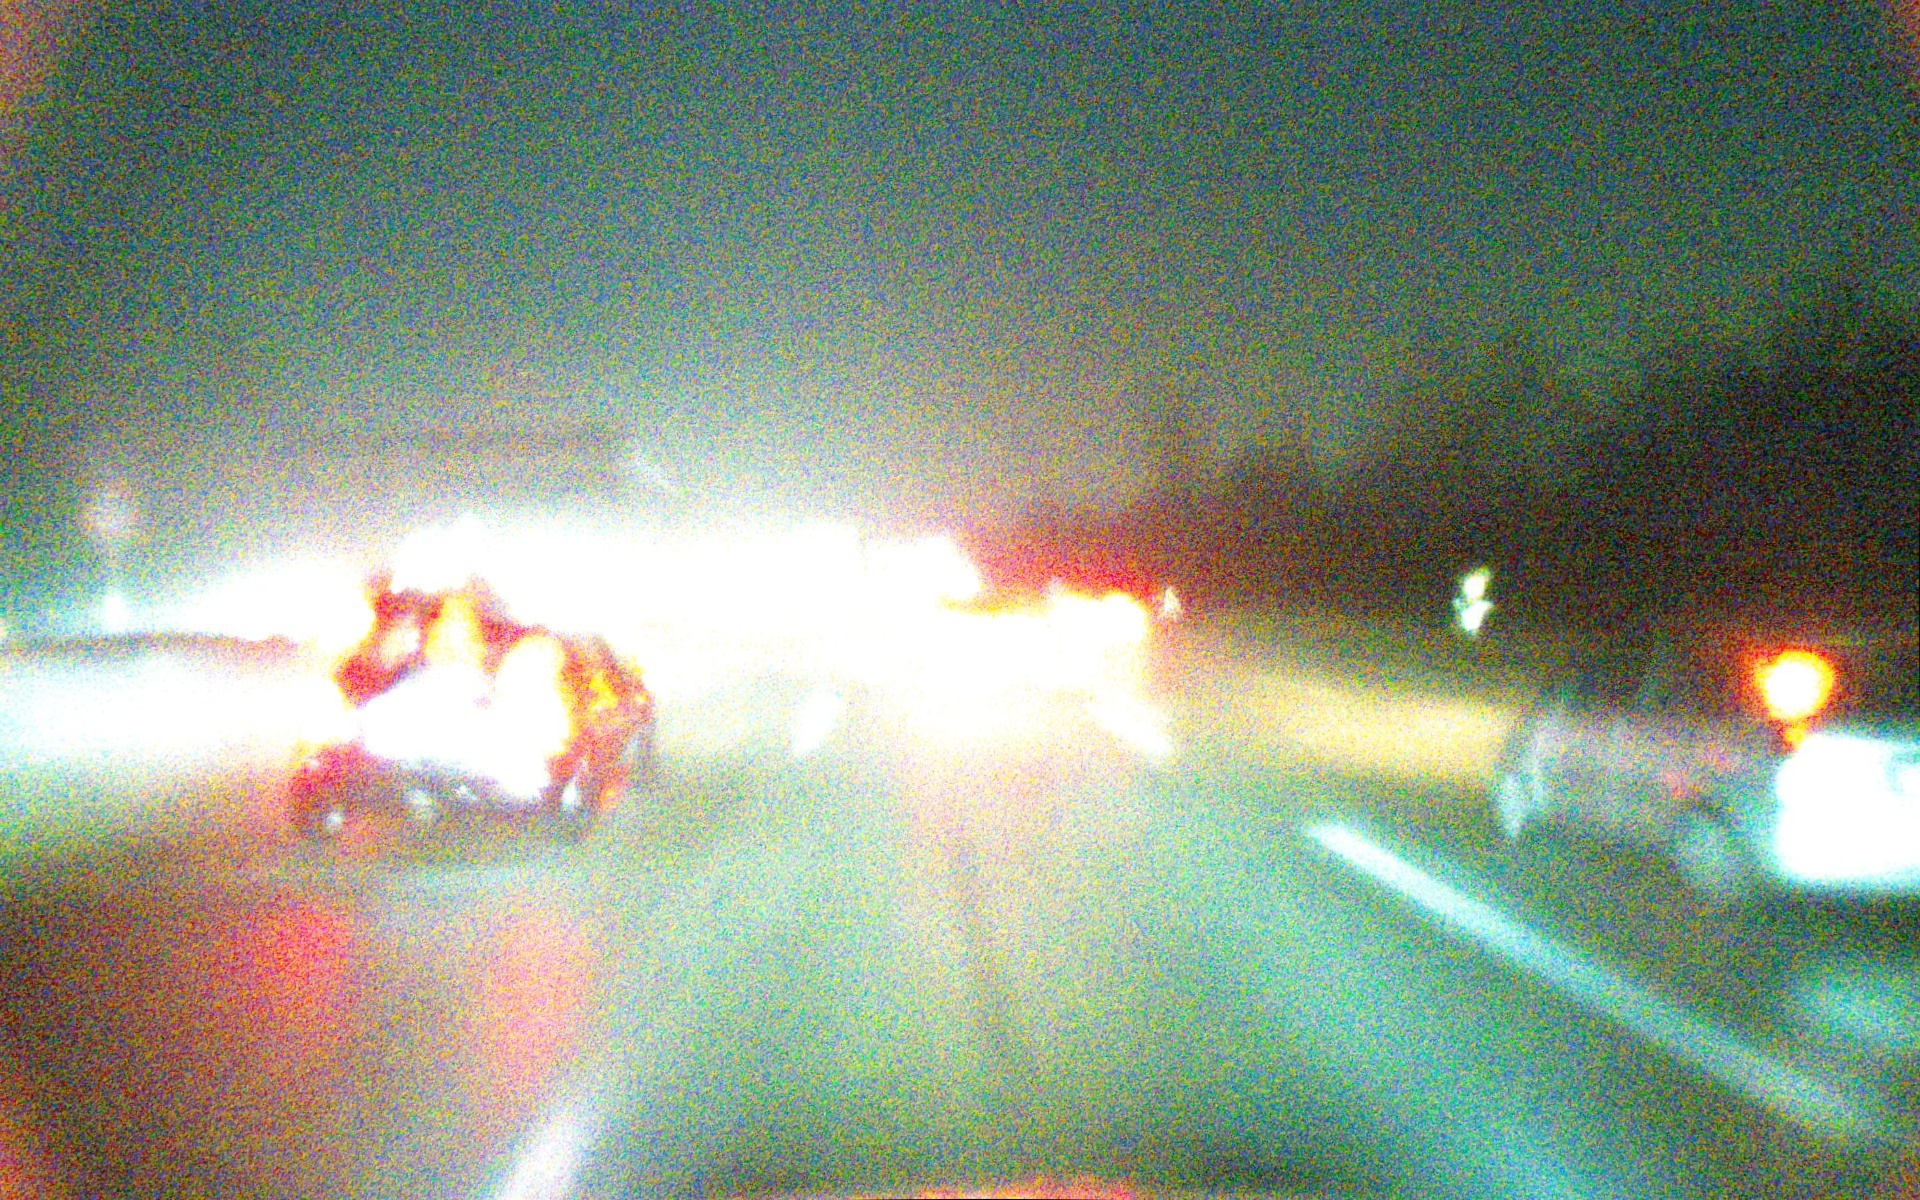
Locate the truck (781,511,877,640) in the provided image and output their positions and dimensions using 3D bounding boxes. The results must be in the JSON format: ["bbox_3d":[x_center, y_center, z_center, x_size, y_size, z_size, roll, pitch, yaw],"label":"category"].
[{"bbox_3d":[-5.435,-0.895,67.337,3.585,4.820,9.839,1,0,-6],"label":"truck"}]

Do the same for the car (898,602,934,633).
[{"bbox_3d":[-2.508,0.982,93.461,1.953,1.733,4.457,1,0,-2],"label":"car"}]

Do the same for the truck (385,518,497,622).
[{"bbox_3d":[-26.063,-1.422,83.404,3.712,4.995,6.475,1,-1,-2],"label":"truck"}]

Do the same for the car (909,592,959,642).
[{"bbox_3d":[-1.004,0.642,62.879,1.730,1.793,3.997,1,0,-3],"label":"car"}]

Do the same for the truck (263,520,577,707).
[{"bbox_3d":[-7.219,0.188,23.006,2.801,2.239,5.853,1,0,-4],"label":"truck"}]

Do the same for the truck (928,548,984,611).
[{"bbox_3d":[-0.442,-1.705,145.301,4.080,5.306,9.944,1,0,-4],"label":"truck"}]

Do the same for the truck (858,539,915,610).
[{"bbox_3d":[-5.938,-1.954,136.022,4.167,5.539,10.883,1,0,0],"label":"truck"}]

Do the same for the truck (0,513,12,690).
[{"bbox_3d":[-32.238,0.002,47.325,3.174,5.690,12.790,1,0,-2],"label":"truck"}]

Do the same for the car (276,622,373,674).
[{"bbox_3d":[-20.230,1.495,52.807,1.623,1.539,3.998,1,0,-2],"label":"car"}]

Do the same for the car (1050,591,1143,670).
[{"bbox_3d":[3.260,0.709,40.161,1.840,1.793,3.999,1,0,-1],"label":"car"}]

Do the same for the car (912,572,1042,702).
[{"bbox_3d":[0.191,0.480,24.039,1.730,1.719,3.999,0,0,-1],"label":"car"}]

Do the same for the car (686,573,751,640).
[{"bbox_3d":[-8.804,0.253,60.405,2.221,2.313,5.375,1,0,-8],"label":"car"}]

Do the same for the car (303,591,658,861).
[{"bbox_3d":[-3.015,0.679,11.225,1.625,1.456,4.240,0,0,-7],"label":"car"}]

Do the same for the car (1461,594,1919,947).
[{"bbox_3d":[4.316,0.714,9.085,1.734,1.483,4.193,0,0,-2],"label":"car"}]
